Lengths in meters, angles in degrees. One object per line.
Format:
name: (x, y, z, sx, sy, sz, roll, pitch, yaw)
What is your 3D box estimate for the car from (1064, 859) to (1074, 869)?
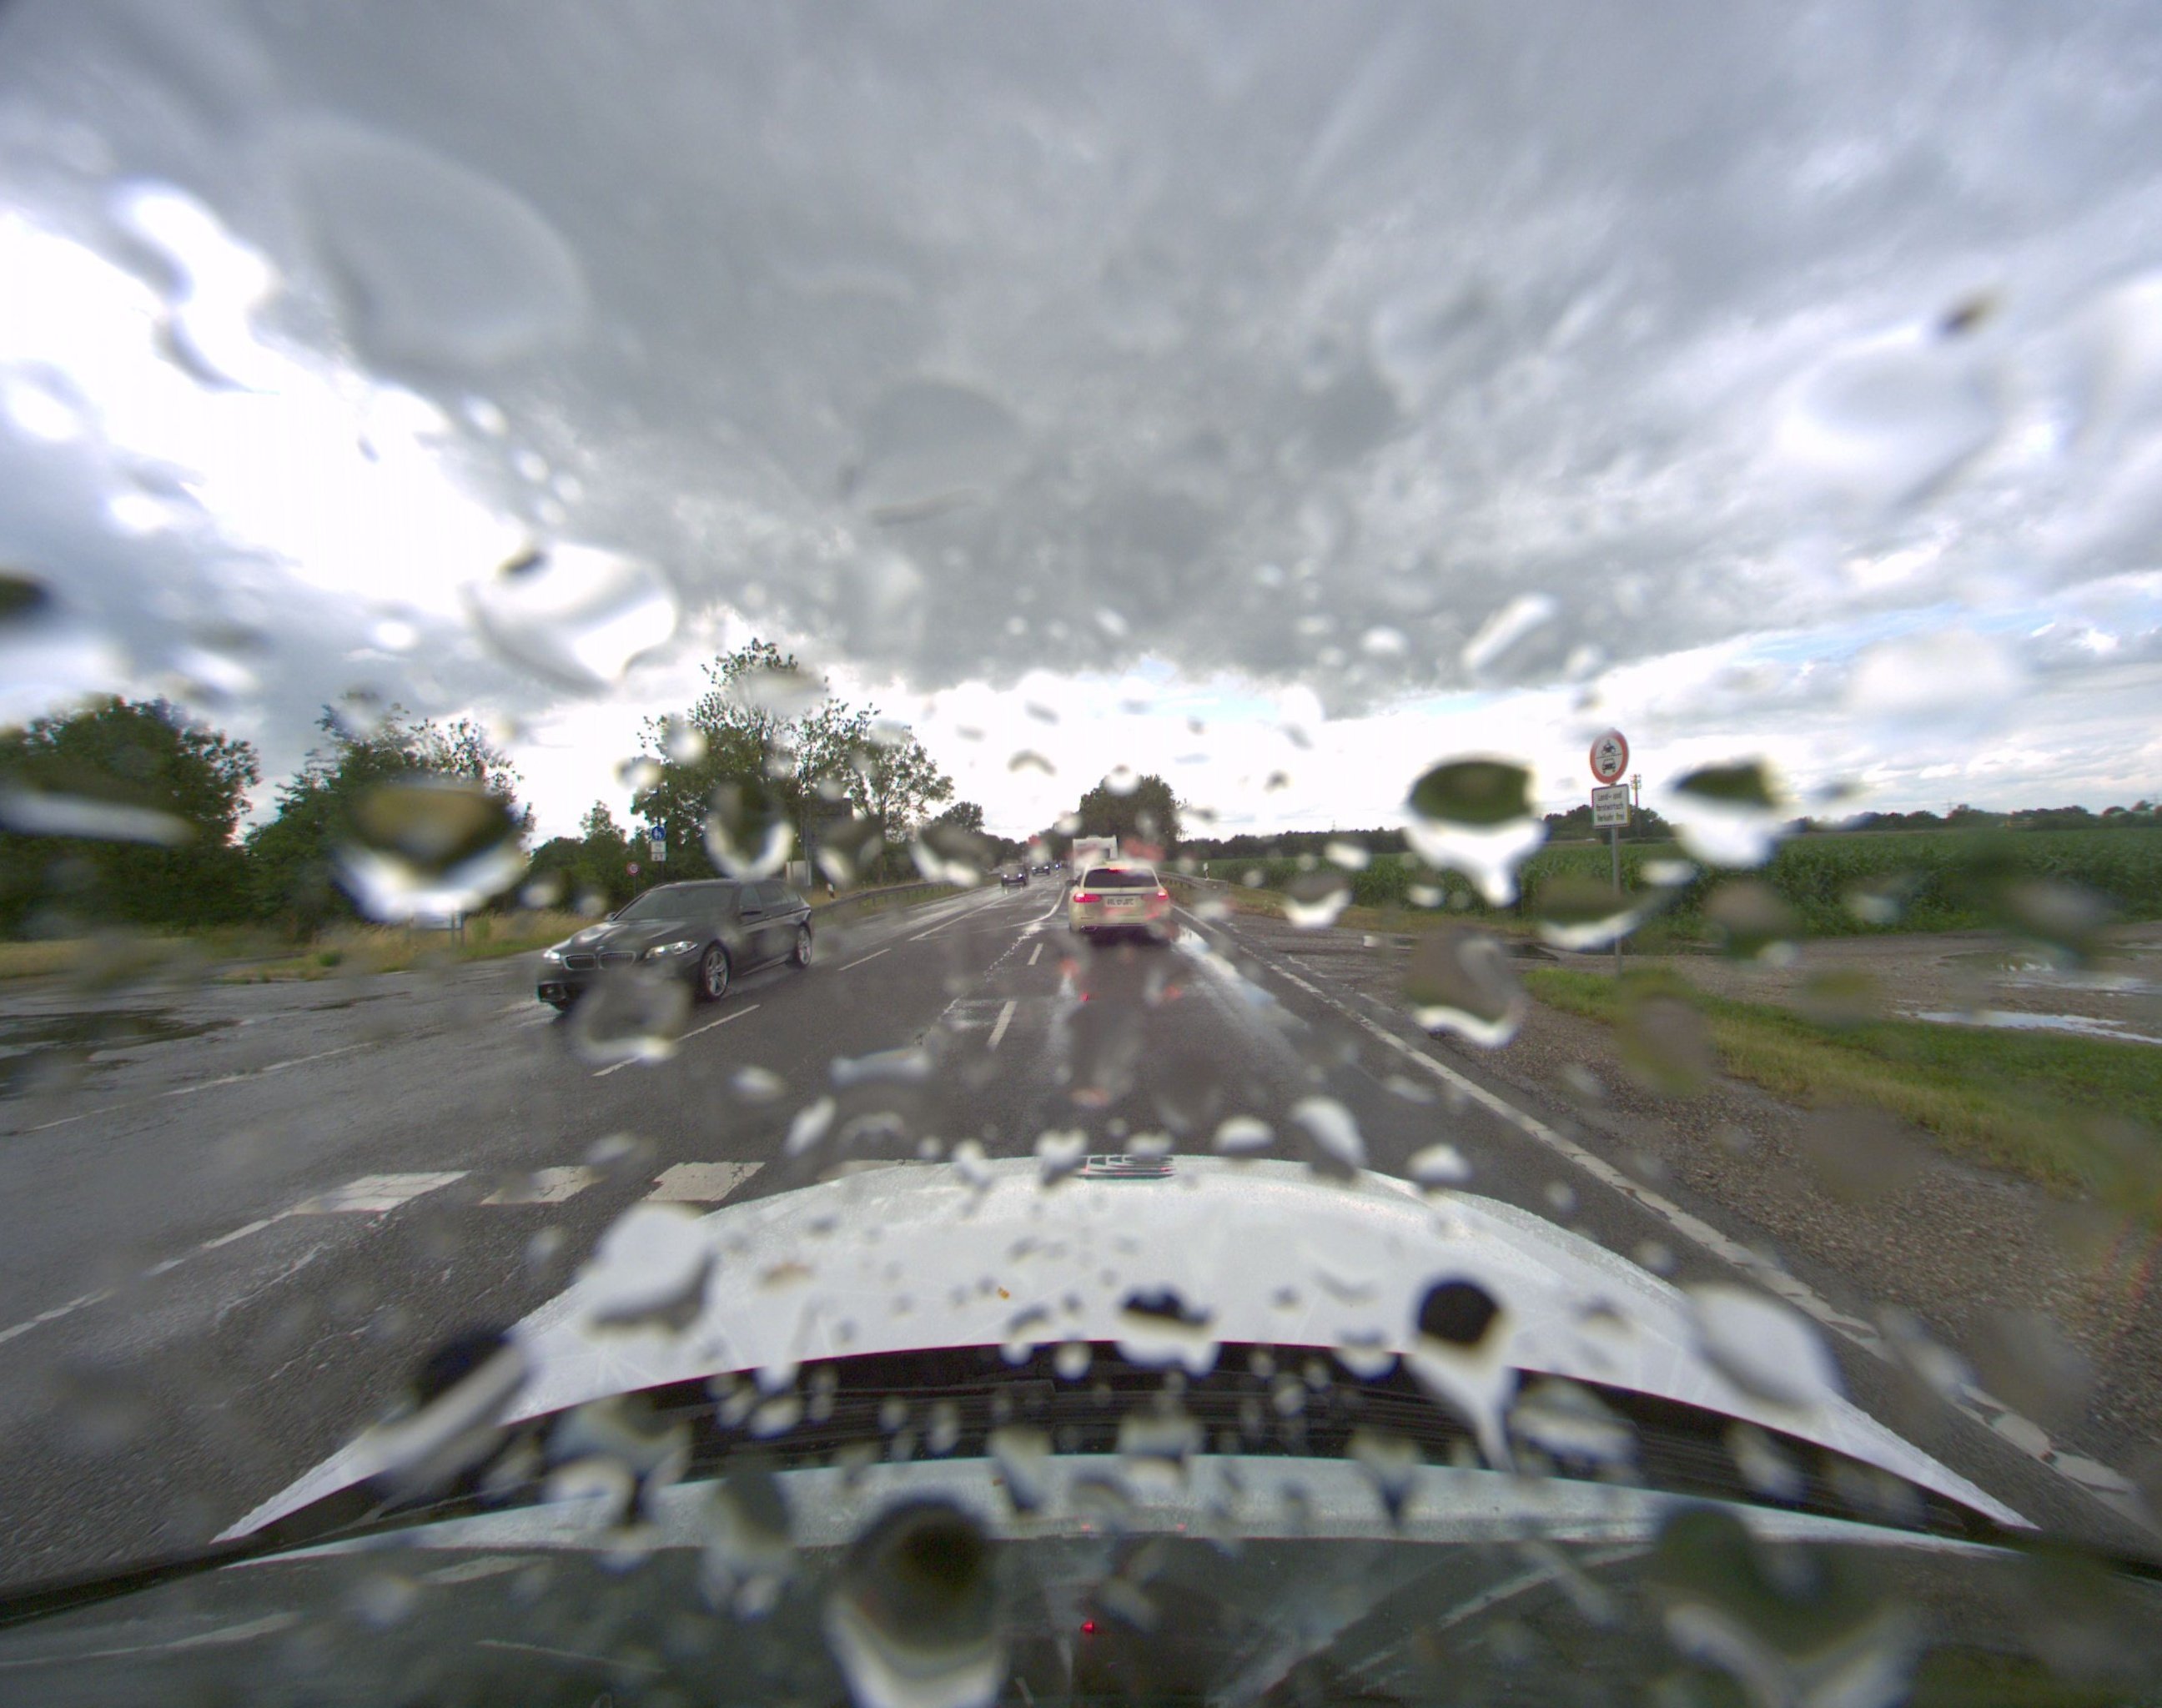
car: (-2.533, 2.122, 172.956, 1.990, 2.014, 3.994, -2, 0, -4)

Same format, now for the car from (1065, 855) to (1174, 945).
car: (0.707, 0.793, 15.853, 1.818, 1.485, 4.146, -1, 0, 1)

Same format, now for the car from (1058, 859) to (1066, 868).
car: (-4.792, 2.377, 202.313, 1.988, 2.014, 3.997, -2, 0, -2)

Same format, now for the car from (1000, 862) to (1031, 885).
car: (-4.518, 1.349, 56.773, 1.706, 1.405, 3.813, -3, 0, 0)

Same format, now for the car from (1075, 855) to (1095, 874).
car: (0.413, 1.339, 100.947, 2.241, 2.199, 5.408, -2, 0, -2)

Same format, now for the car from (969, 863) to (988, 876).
car: (-14.217, 2.196, 113.405, 1.986, 1.651, 4.001, -3, 0, 1)

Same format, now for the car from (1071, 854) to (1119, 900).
car: (0.500, 0.821, 30.851, 1.622, 1.529, 3.932, -3, 0, 0)

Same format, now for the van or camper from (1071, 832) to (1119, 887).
van or camper: (0.730, 0.260, 44.229, 2.343, 2.680, 5.768, -2, 0, 0)

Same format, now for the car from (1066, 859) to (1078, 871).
car: (-1.618, 1.957, 144.941, 1.989, 2.014, 3.994, -2, 0, -4)

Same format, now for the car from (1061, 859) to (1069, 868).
car: (-3.845, 2.260, 194.356, 1.988, 2.051, 3.997, -2, 0, -2)

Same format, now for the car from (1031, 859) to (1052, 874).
car: (-4.462, 1.420, 92.209, 1.937, 1.580, 4.444, -2, 0, 1)

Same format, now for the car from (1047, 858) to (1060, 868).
car: (-4.479, 1.430, 134.175, 1.763, 1.523, 4.142, -4, 0, 1)

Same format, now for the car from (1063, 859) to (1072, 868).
car: (-3.044, 2.218, 187.701, 1.988, 2.014, 3.998, -2, 0, -1)

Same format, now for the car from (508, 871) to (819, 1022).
car: (-5.133, 1.026, 10.835, 1.760, 1.438, 4.413, -3, 0, 0)
